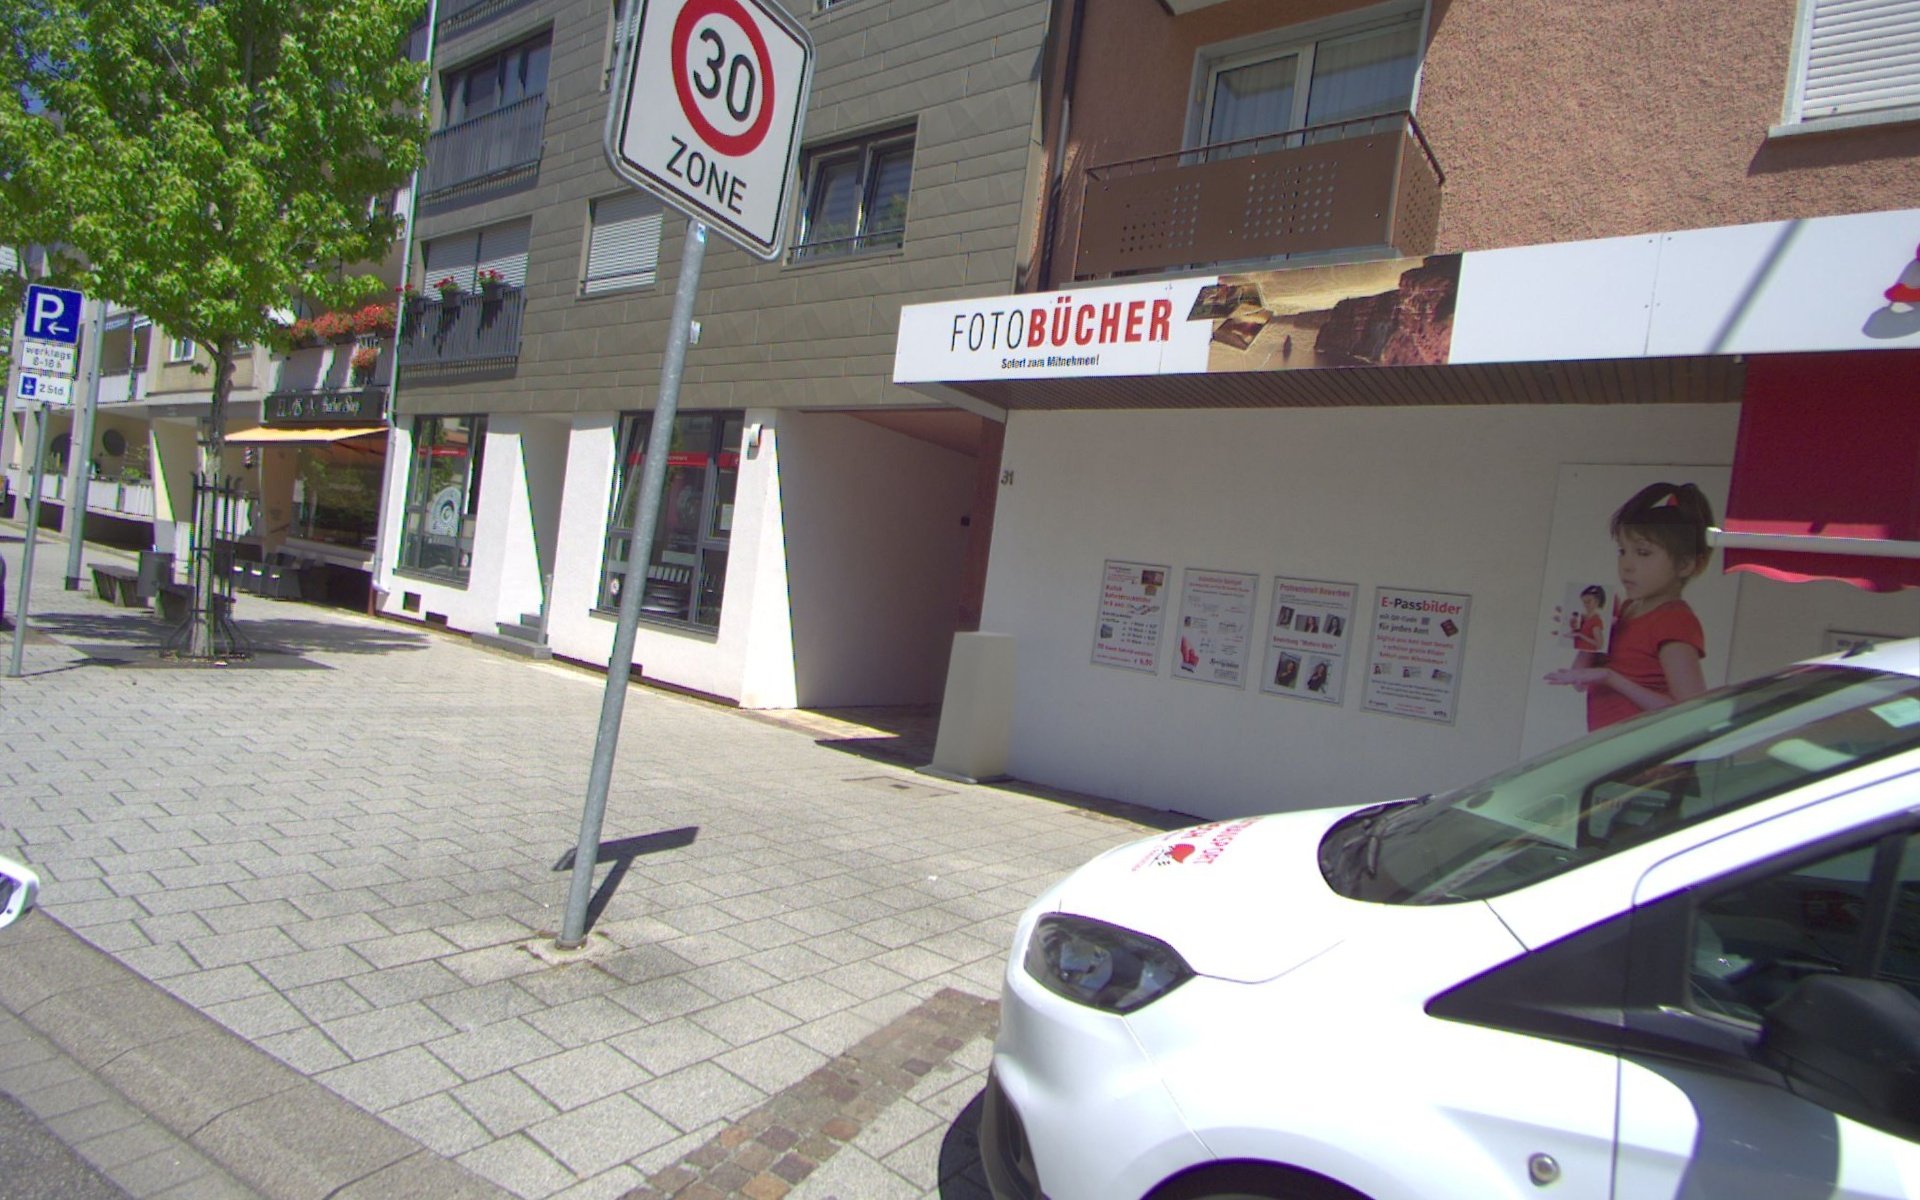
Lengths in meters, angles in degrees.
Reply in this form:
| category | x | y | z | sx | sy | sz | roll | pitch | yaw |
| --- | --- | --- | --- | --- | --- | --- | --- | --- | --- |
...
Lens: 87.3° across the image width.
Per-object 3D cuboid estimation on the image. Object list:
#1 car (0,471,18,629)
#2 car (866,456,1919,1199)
| category | x | y | z | sx | sy | sz | roll | pitch | yaw |
| --- | --- | --- | --- | --- | --- | --- | --- | --- | --- |
| car | -11.564 | -0.730 | 10.698 | 3.783 | 1.578 | 1.621 | 7 | 0 | 38 |
| car | 1.962 | 0.830 | 1.852 | 3.842 | 1.746 | 1.749 | 7 | 2 | 28 |
